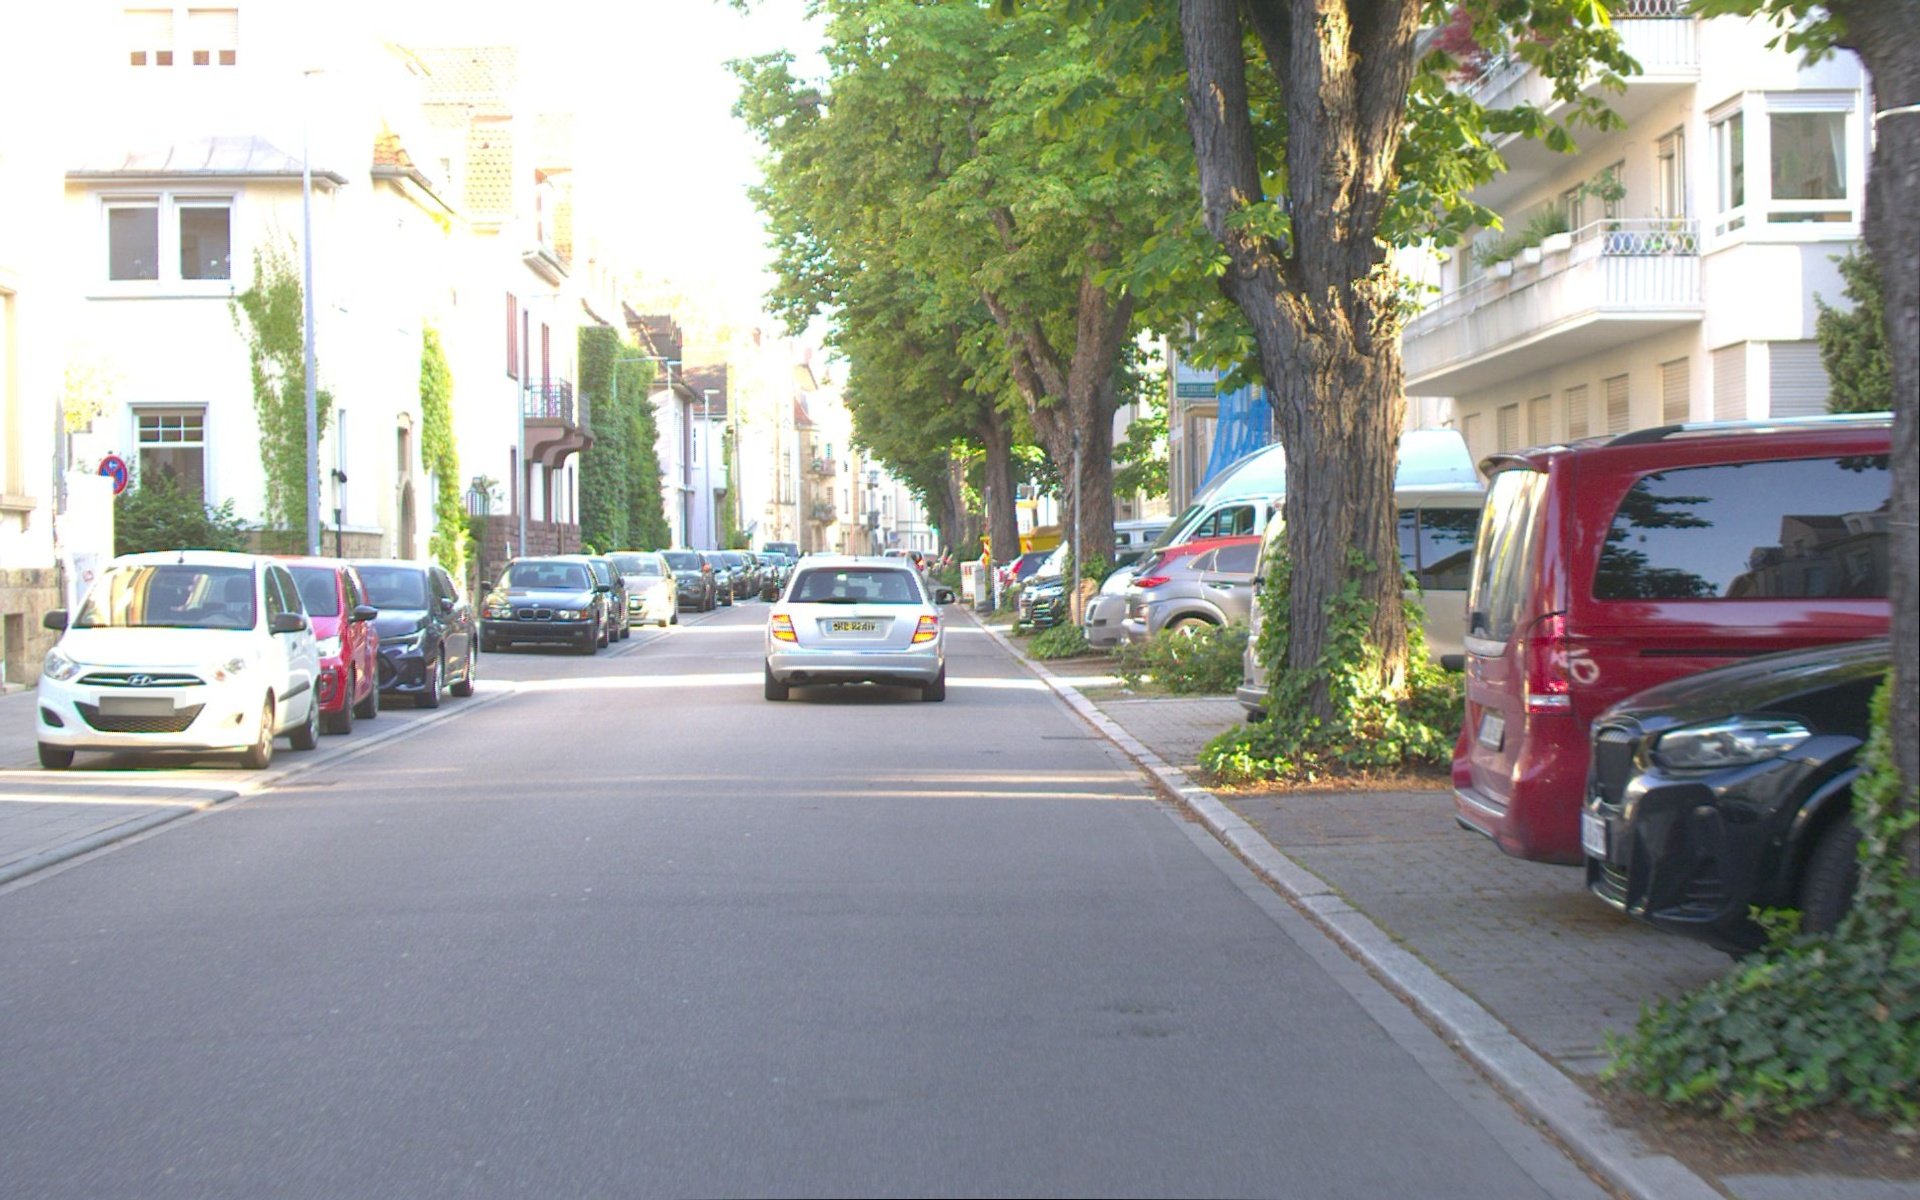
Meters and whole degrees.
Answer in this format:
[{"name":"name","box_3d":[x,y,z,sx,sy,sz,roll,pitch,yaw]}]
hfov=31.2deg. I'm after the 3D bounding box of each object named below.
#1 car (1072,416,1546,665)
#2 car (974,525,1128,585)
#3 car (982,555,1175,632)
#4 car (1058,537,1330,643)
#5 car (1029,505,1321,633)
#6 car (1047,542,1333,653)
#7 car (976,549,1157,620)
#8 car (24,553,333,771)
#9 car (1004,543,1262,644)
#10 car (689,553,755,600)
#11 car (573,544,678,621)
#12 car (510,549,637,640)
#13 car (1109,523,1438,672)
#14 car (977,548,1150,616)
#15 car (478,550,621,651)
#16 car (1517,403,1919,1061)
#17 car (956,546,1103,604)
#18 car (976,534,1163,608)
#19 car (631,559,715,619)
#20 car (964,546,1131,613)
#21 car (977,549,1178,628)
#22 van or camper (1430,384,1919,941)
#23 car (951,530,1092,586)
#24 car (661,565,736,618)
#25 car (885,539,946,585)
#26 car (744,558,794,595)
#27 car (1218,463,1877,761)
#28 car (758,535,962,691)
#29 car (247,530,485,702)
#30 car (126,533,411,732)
[{"name":"car","box_3d":[4.287,-0.753,42.959,5.541,2.958,2.472,-1,1,-3]},{"name":"car","box_3d":[2.281,-1.144,87.090,3.844,1.477,1.805,-1,1,0]},{"name":"car","box_3d":[2.390,-0.140,69.879,3.844,1.477,1.805,-1,1,0]},{"name":"car","box_3d":[3.389,-0.163,50.250,3.844,1.477,1.805,-1,1,0]},{"name":"car","box_3d":[3.461,-0.521,56.038,4.518,2.007,2.251,-1,1,-2]},{"name":"car","box_3d":[3.166,-0.050,47.861,3.844,1.477,1.805,-1,1,0]},{"name":"car","box_3d":[2.275,-0.348,74.239,3.844,1.477,1.805,-1,1,0]},{"name":"car","box_3d":[-5.710,0.412,25.496,1.659,1.494,3.754,0,0,-4]},{"name":"car","box_3d":[2.606,-0.114,52.499,3.844,1.477,1.805,-1,1,0]},{"name":"car","box_3d":[-7.209,-0.716,104.302,1.799,1.382,3.606,0,1,-1]},{"name":"car","box_3d":[-6.661,-0.379,68.761,1.799,1.477,3.857,0,1,-1]},{"name":"car","box_3d":[-6.523,-0.119,58.351,1.799,1.477,3.857,0,1,-1]},{"name":"car","box_3d":[3.607,-0.049,39.955,3.594,1.654,1.650,-1,1,-3]},{"name":"car","box_3d":[2.315,-0.421,77.644,3.844,1.477,1.805,-1,1,0]},{"name":"car","box_3d":[-6.286,-0.026,52.968,1.799,1.477,3.857,0,1,-1]},{"name":"car","box_3d":[4.200,0.361,10.571,4.625,1.830,1.954,0,1,-1]},{"name":"car","box_3d":[1.836,-0.660,91.341,3.844,1.477,1.805,-1,1,0]},{"name":"car","box_3d":[2.273,-0.616,71.988,3.844,1.477,1.805,-1,1,0]},{"name":"car","box_3d":[-6.882,-0.276,82.730,1.799,1.382,3.606,0,1,-1]},{"name":"car","box_3d":[2.013,-0.488,80.103,3.844,1.477,1.805,-1,1,0]},{"name":"car","box_3d":[2.263,-0.240,66.953,3.844,1.477,1.805,-1,1,0]},{"name":"van or camper","box_3d":[4.101,0.214,13.368,4.313,2.007,2.000,0,1,2]},{"name":"car","box_3d":[1.682,-1.170,94.803,3.844,1.477,1.805,-1,1,0]},{"name":"car","box_3d":[-7.042,-0.246,92.767,1.799,1.382,3.606,0,1,-1]},{"name":"car","box_3d":[-1.445,-1.233,112.979,1.817,1.468,4.216,0,0,2]},{"name":"car","box_3d":[-7.418,-0.906,133.733,1.799,1.382,3.606,0,1,-1]},{"name":"car","box_3d":[3.945,0.059,23.554,4.129,1.915,1.891,-1,1,-2]},{"name":"car","box_3d":[-0.948,0.123,34.751,1.817,1.468,4.216,0,0,2]},{"name":"car","box_3d":[-5.924,0.115,34.677,1.799,1.639,3.857,0,1,-1]},{"name":"car","box_3d":[-6.017,0.283,30.325,1.799,1.639,3.857,0,0,-1]}]
